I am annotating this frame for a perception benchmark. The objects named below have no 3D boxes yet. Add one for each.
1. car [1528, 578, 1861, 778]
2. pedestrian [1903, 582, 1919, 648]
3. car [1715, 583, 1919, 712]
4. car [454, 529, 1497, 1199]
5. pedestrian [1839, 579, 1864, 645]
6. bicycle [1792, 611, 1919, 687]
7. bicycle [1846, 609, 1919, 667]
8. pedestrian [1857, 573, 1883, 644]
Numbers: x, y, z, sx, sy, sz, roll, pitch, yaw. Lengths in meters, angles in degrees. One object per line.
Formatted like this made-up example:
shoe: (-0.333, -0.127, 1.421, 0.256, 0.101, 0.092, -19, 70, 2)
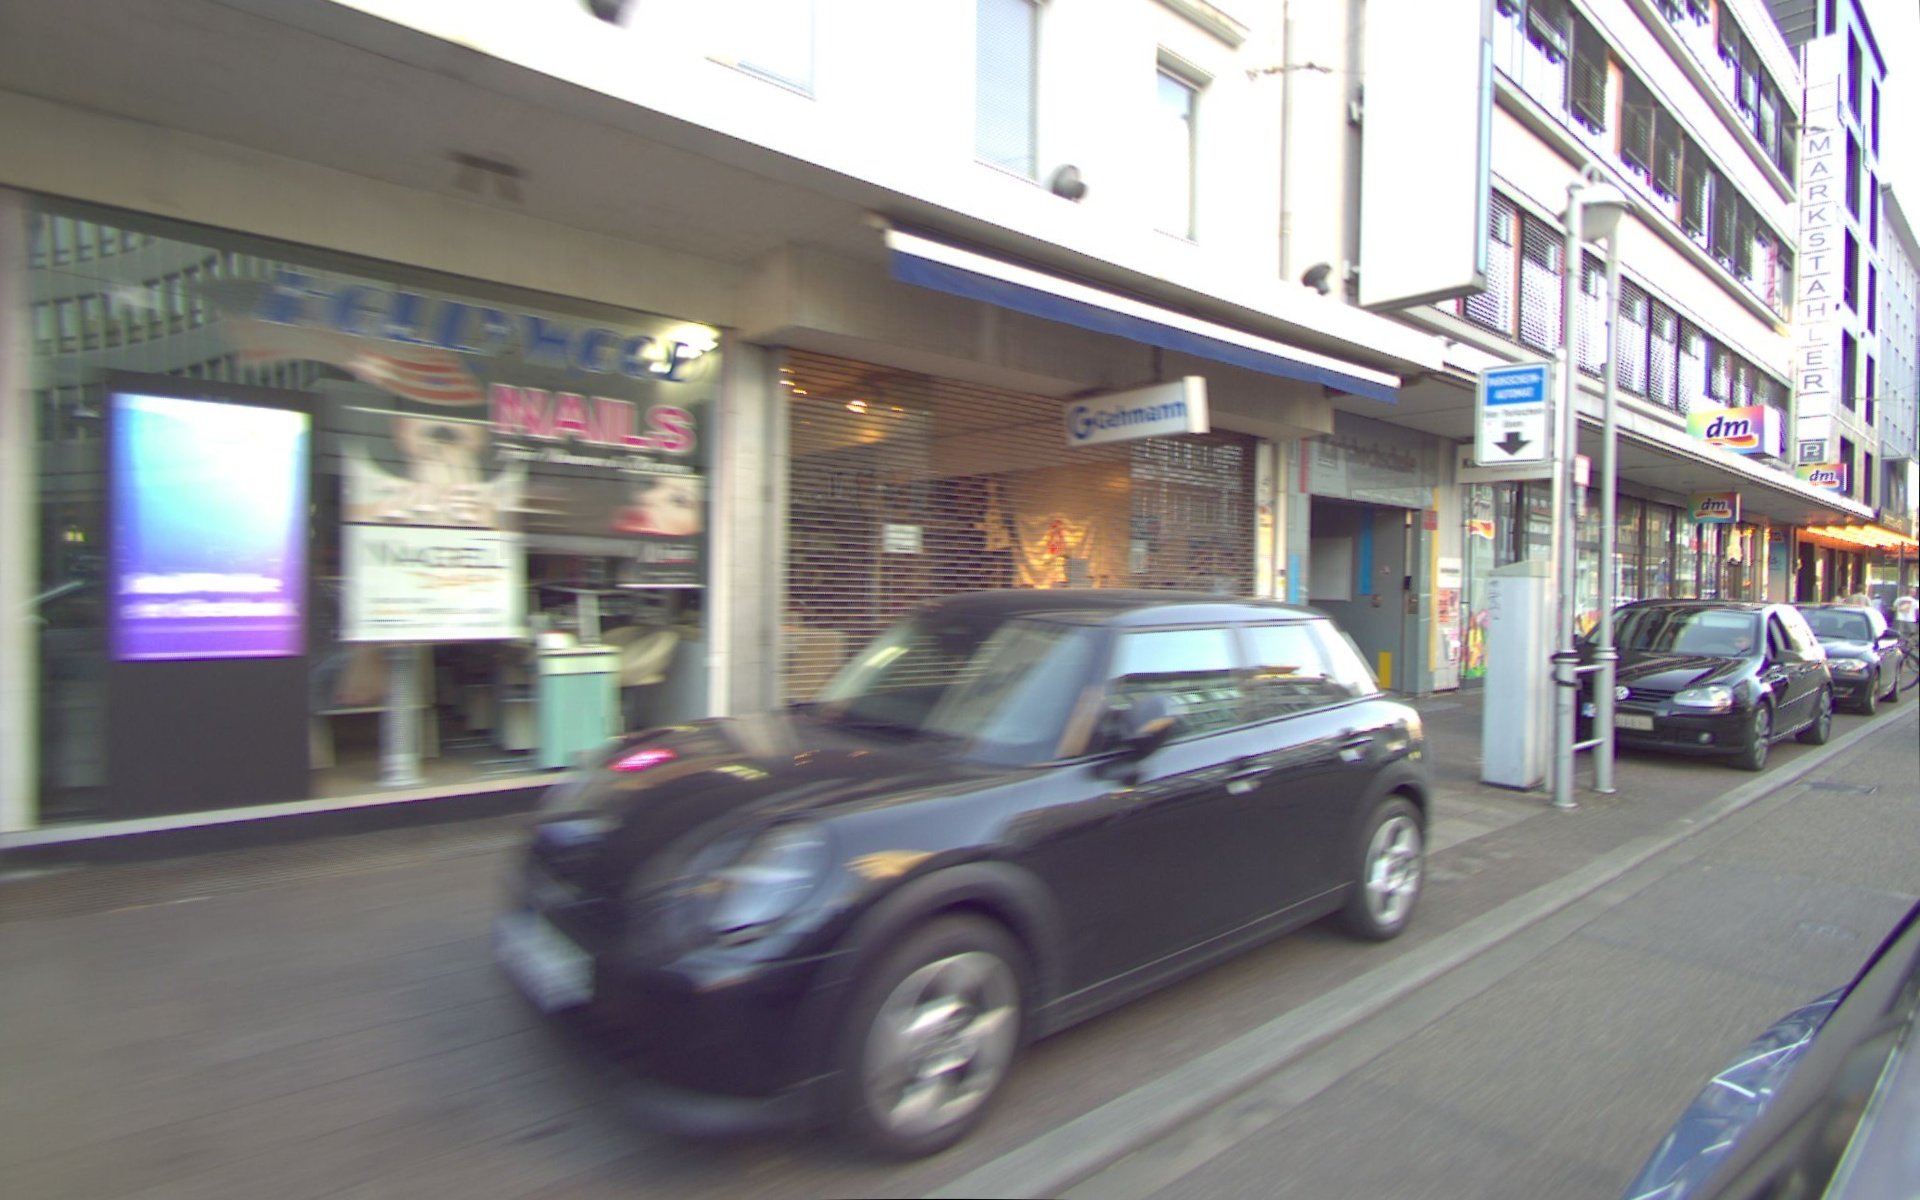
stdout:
car: (7.390, 0.608, 10.035, 4.094, 1.530, 1.724, 0, 3, -41)
pedestrian: (26.233, 0.408, 27.646, 0.594, 1.775, 0.610, 1, 1, -41)
car: (12.524, 0.576, 14.555, 4.183, 1.530, 1.748, 0, 3, -41)
car: (0.382, 0.579, 3.990, 3.964, 1.530, 1.689, 0, 3, -41)
pedestrian: (26.180, 0.337, 29.708, 0.414, 1.922, 0.452, 1, 1, -41)
bicycle: (15.237, 0.799, 16.984, 0.665, 1.152, 1.888, 0, 1, -43)
bicycle: (19.476, 0.801, 20.734, 0.665, 1.090, 1.888, 0, 3, -43)
pedestrian: (25.282, 0.230, 28.115, 0.414, 1.922, 0.456, 1, 1, -41)
